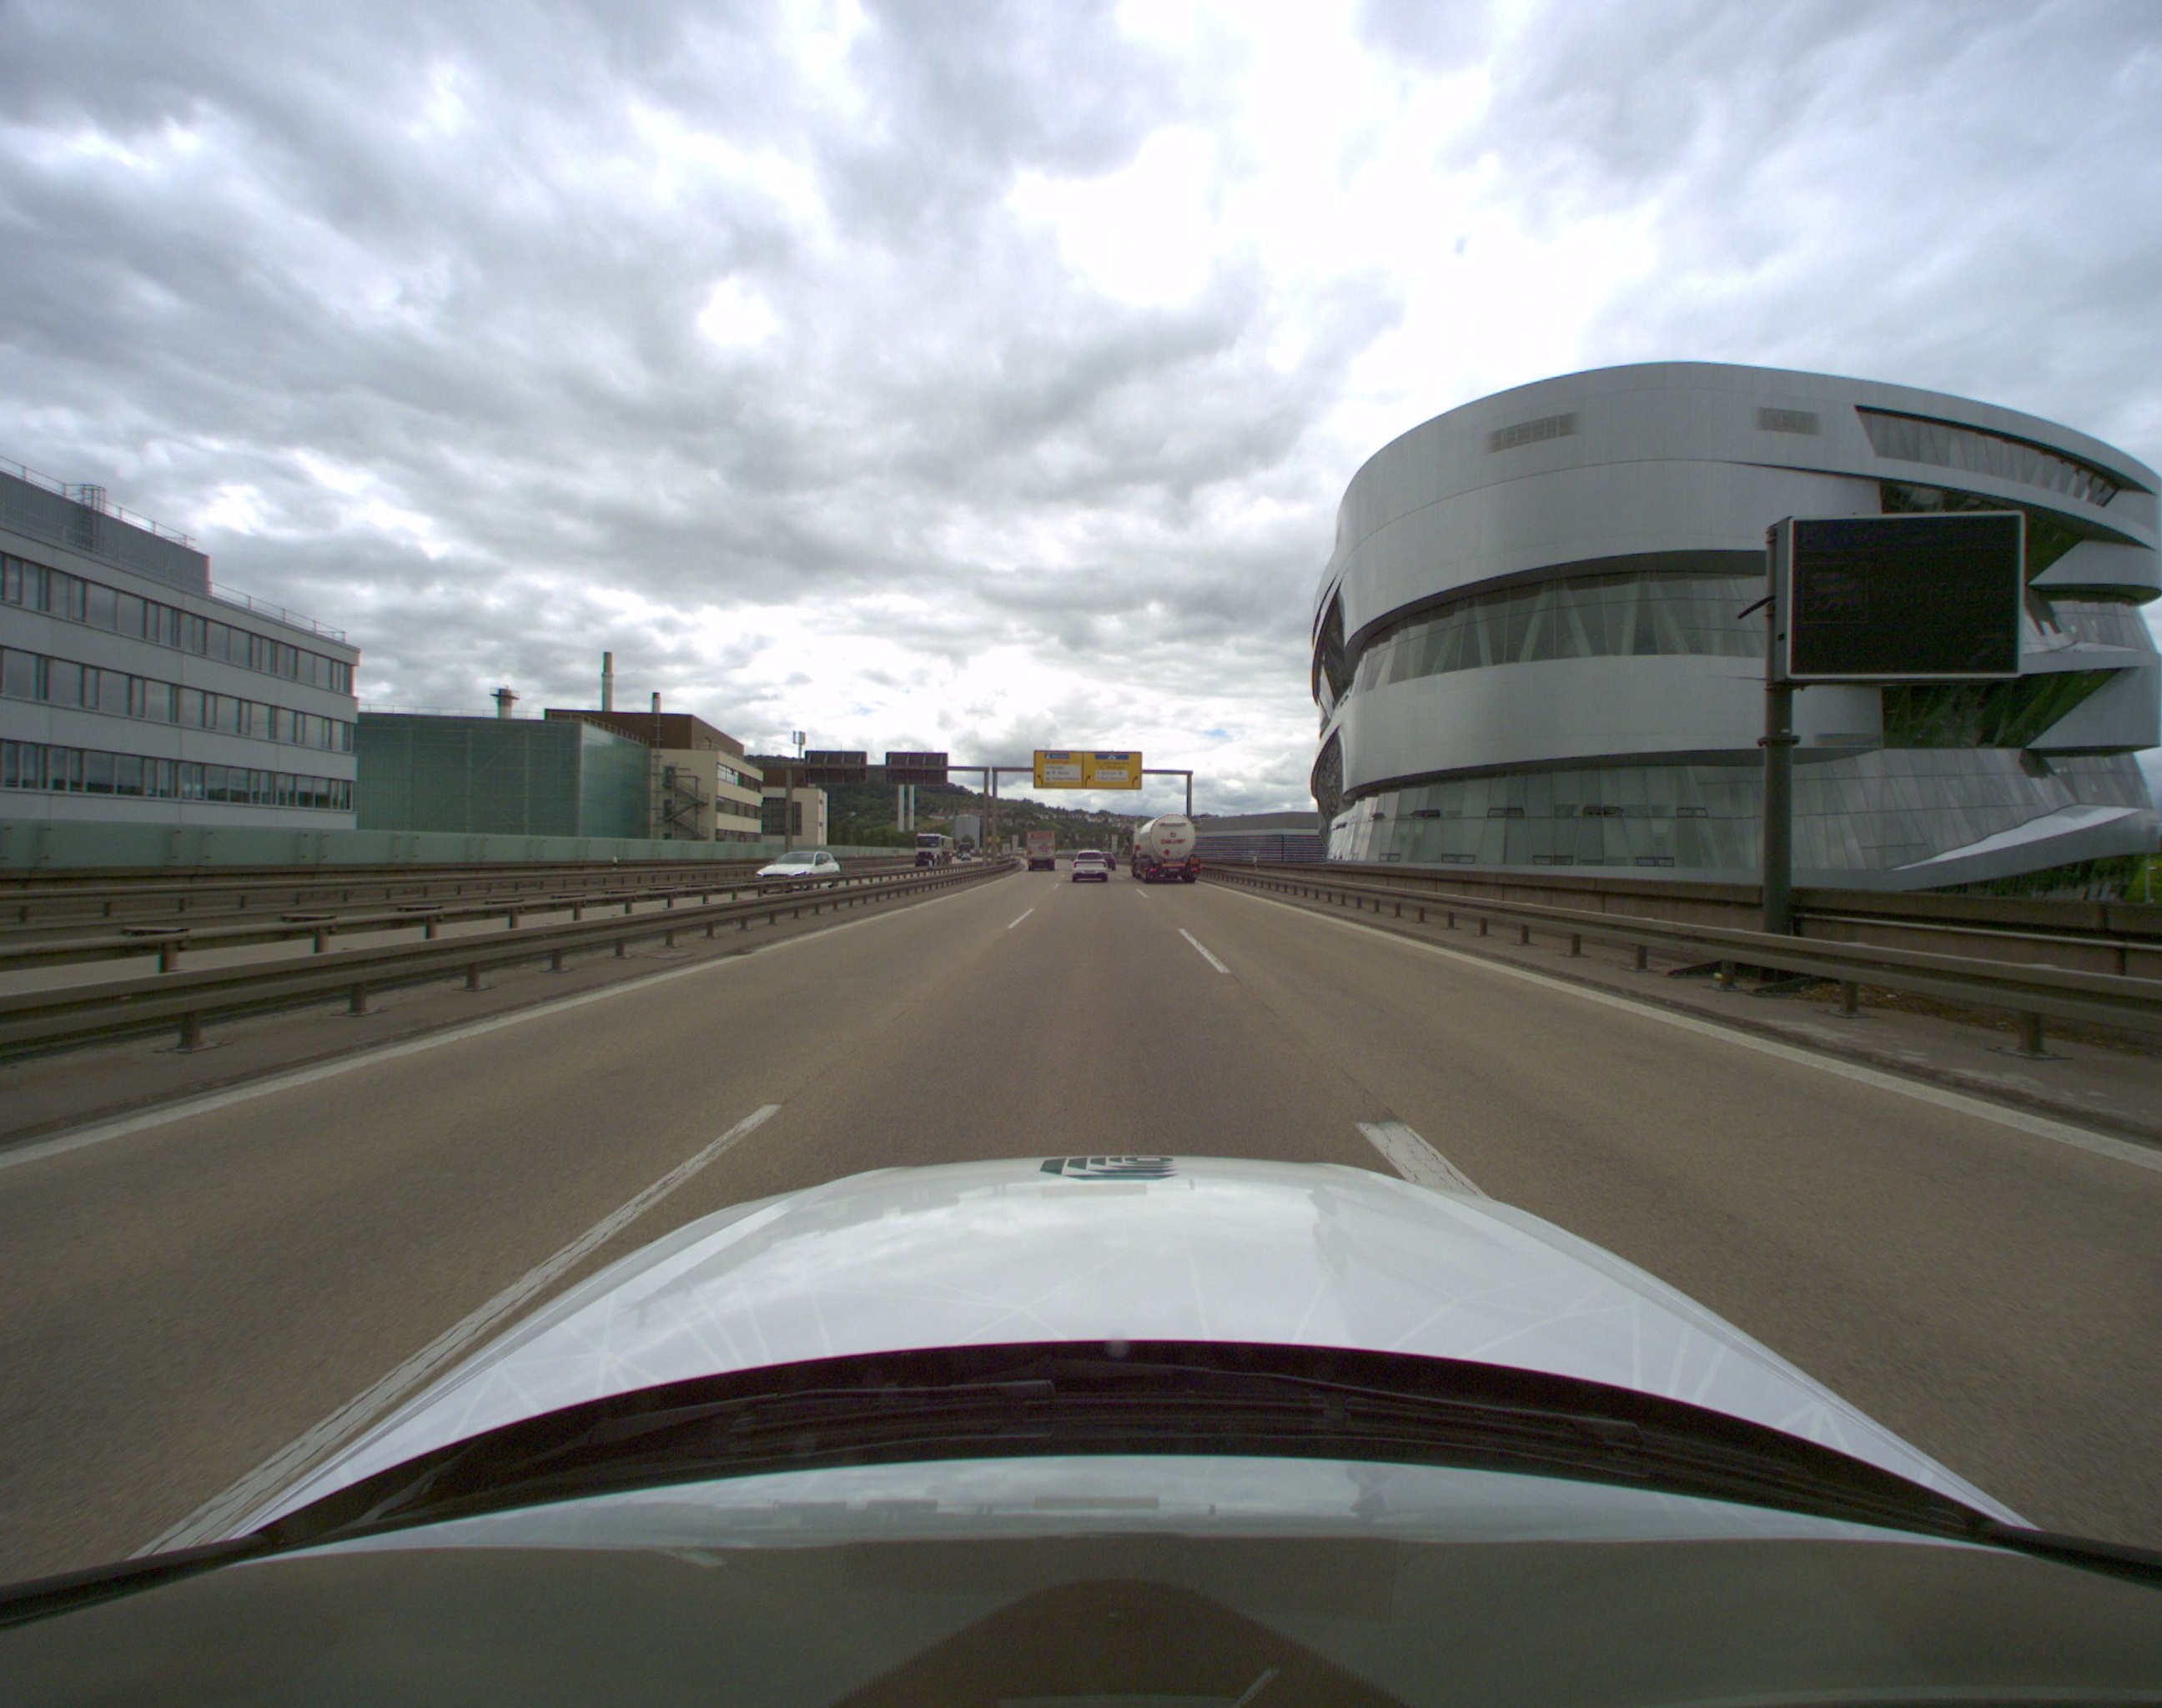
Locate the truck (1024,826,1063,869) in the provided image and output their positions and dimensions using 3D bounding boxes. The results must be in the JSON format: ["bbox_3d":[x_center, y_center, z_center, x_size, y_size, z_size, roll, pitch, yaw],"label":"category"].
[{"bbox_3d":[-3.378,-0.557,75.442,3.046,3.691,8.305,-1,0,1],"label":"truck"}]

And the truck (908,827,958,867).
[{"bbox_3d":[-14.890,-0.588,82.945,3.049,3.776,12.509,-1,0,-2],"label":"truck"}]

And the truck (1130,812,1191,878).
[{"bbox_3d":[4.615,-0.466,48.322,3.004,3.657,6.272,-1,-1,0],"label":"truck"}]

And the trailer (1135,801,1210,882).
[{"bbox_3d":[4.593,-0.551,42.452,3.046,3.790,8.304,-1,0,1],"label":"trailer"}]

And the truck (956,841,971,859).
[{"bbox_3d":[-26.751,-0.854,186.255,2.807,3.809,11.995,-1,0,-6],"label":"truck"}]

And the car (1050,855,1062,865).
[{"bbox_3d":[-4.495,1.101,145.920,1.676,1.650,4.363,0,0,3],"label":"car"}]

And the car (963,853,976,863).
[{"bbox_3d":[-19.676,0.701,143.824,1.989,1.675,4.403,-1,-1,-3],"label":"car"}]

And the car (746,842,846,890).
[{"bbox_3d":[-10.314,0.427,29.873,1.987,1.606,4.806,-1,-1,0],"label":"car"}]

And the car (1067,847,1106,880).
[{"bbox_3d":[0.318,0.525,43.922,1.987,1.675,4.408,-1,-1,1],"label":"car"}]

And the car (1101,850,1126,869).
[{"bbox_3d":[2.873,0.497,72.397,1.987,1.675,4.407,-1,-1,0],"label":"car"}]
